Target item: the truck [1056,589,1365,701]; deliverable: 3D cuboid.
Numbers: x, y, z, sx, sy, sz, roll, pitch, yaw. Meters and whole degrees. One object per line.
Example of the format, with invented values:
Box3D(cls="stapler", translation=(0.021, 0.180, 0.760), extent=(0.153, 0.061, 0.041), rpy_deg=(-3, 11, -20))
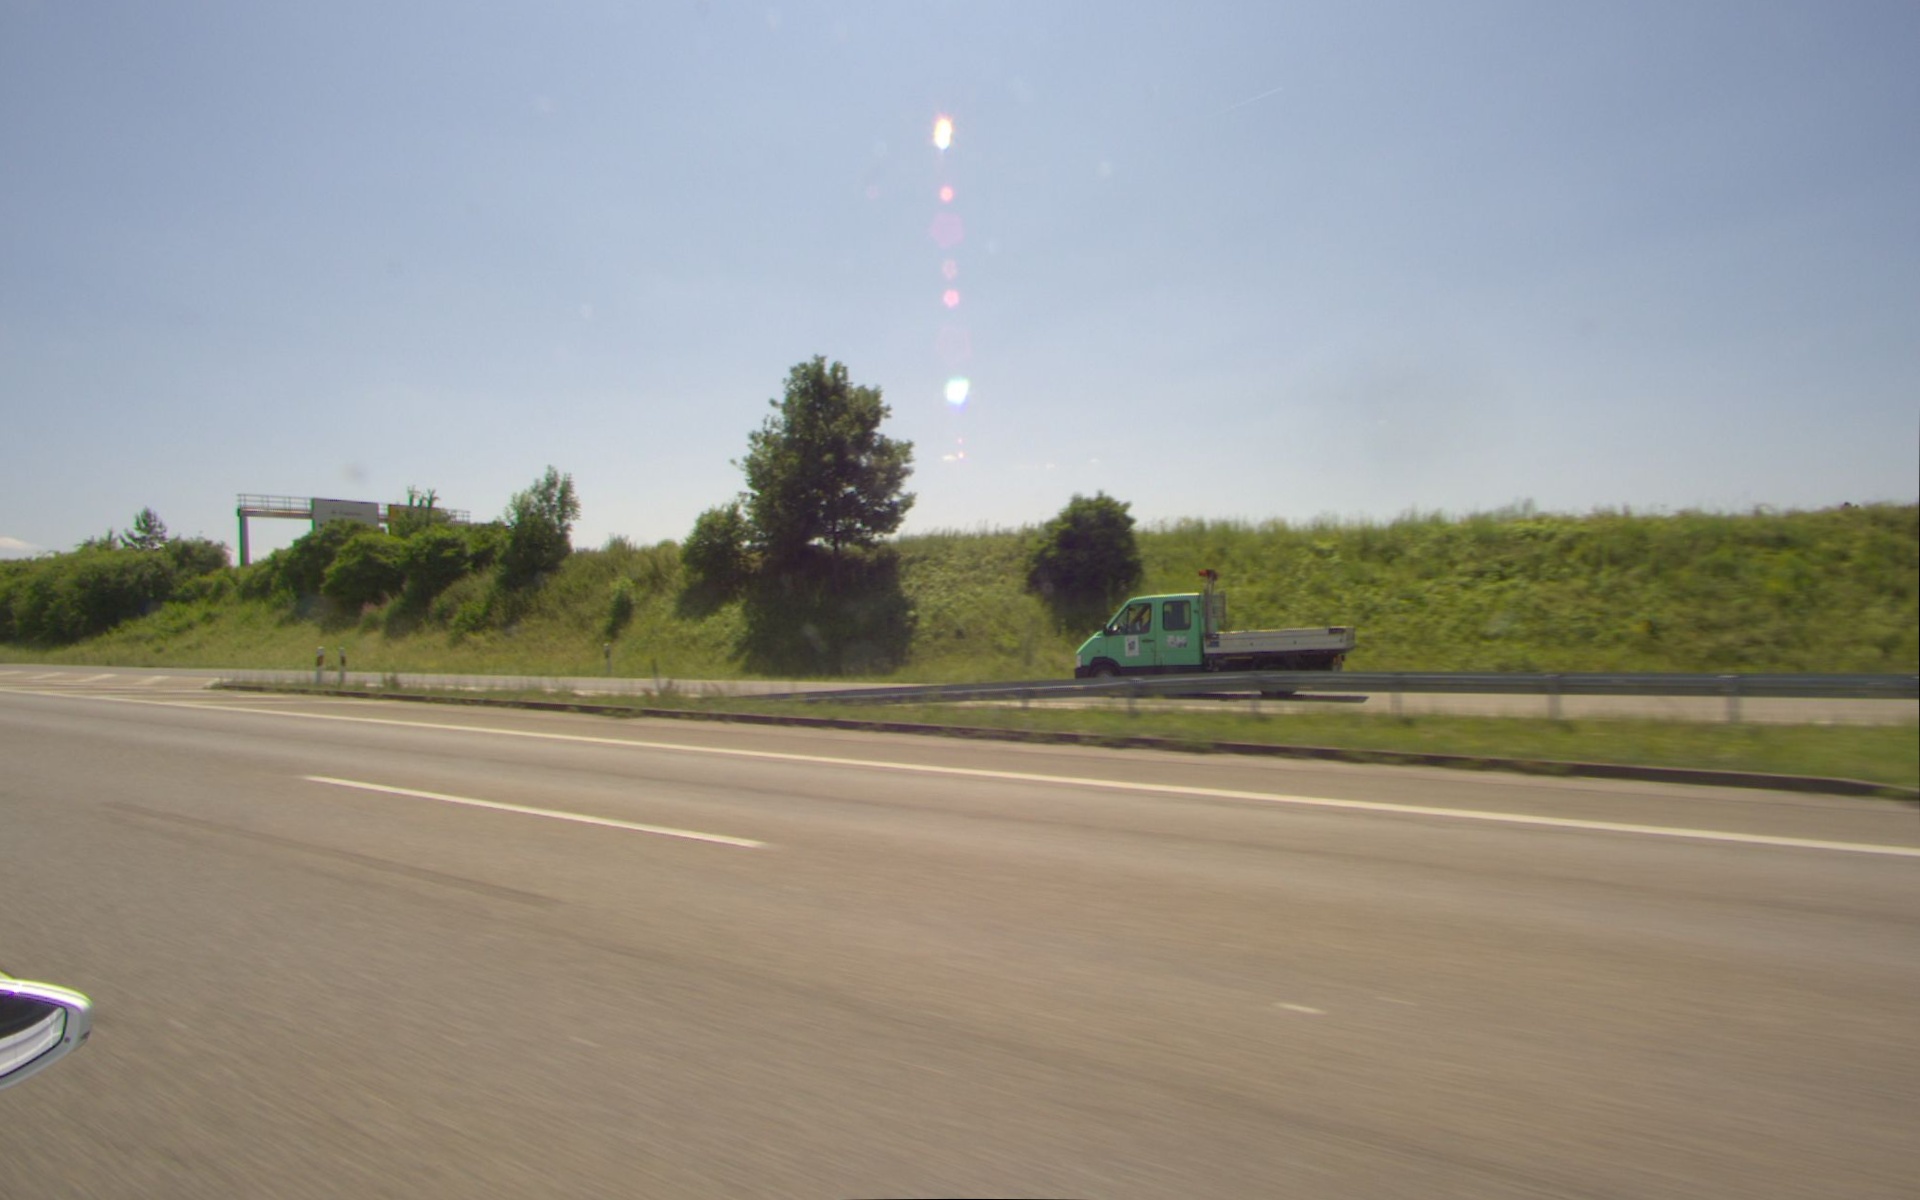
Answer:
Box3D(cls="truck", translation=(5.251, 0.911, 21.221), extent=(6.022, 2.119, 2.164), rpy_deg=(-1, -1, 27))
